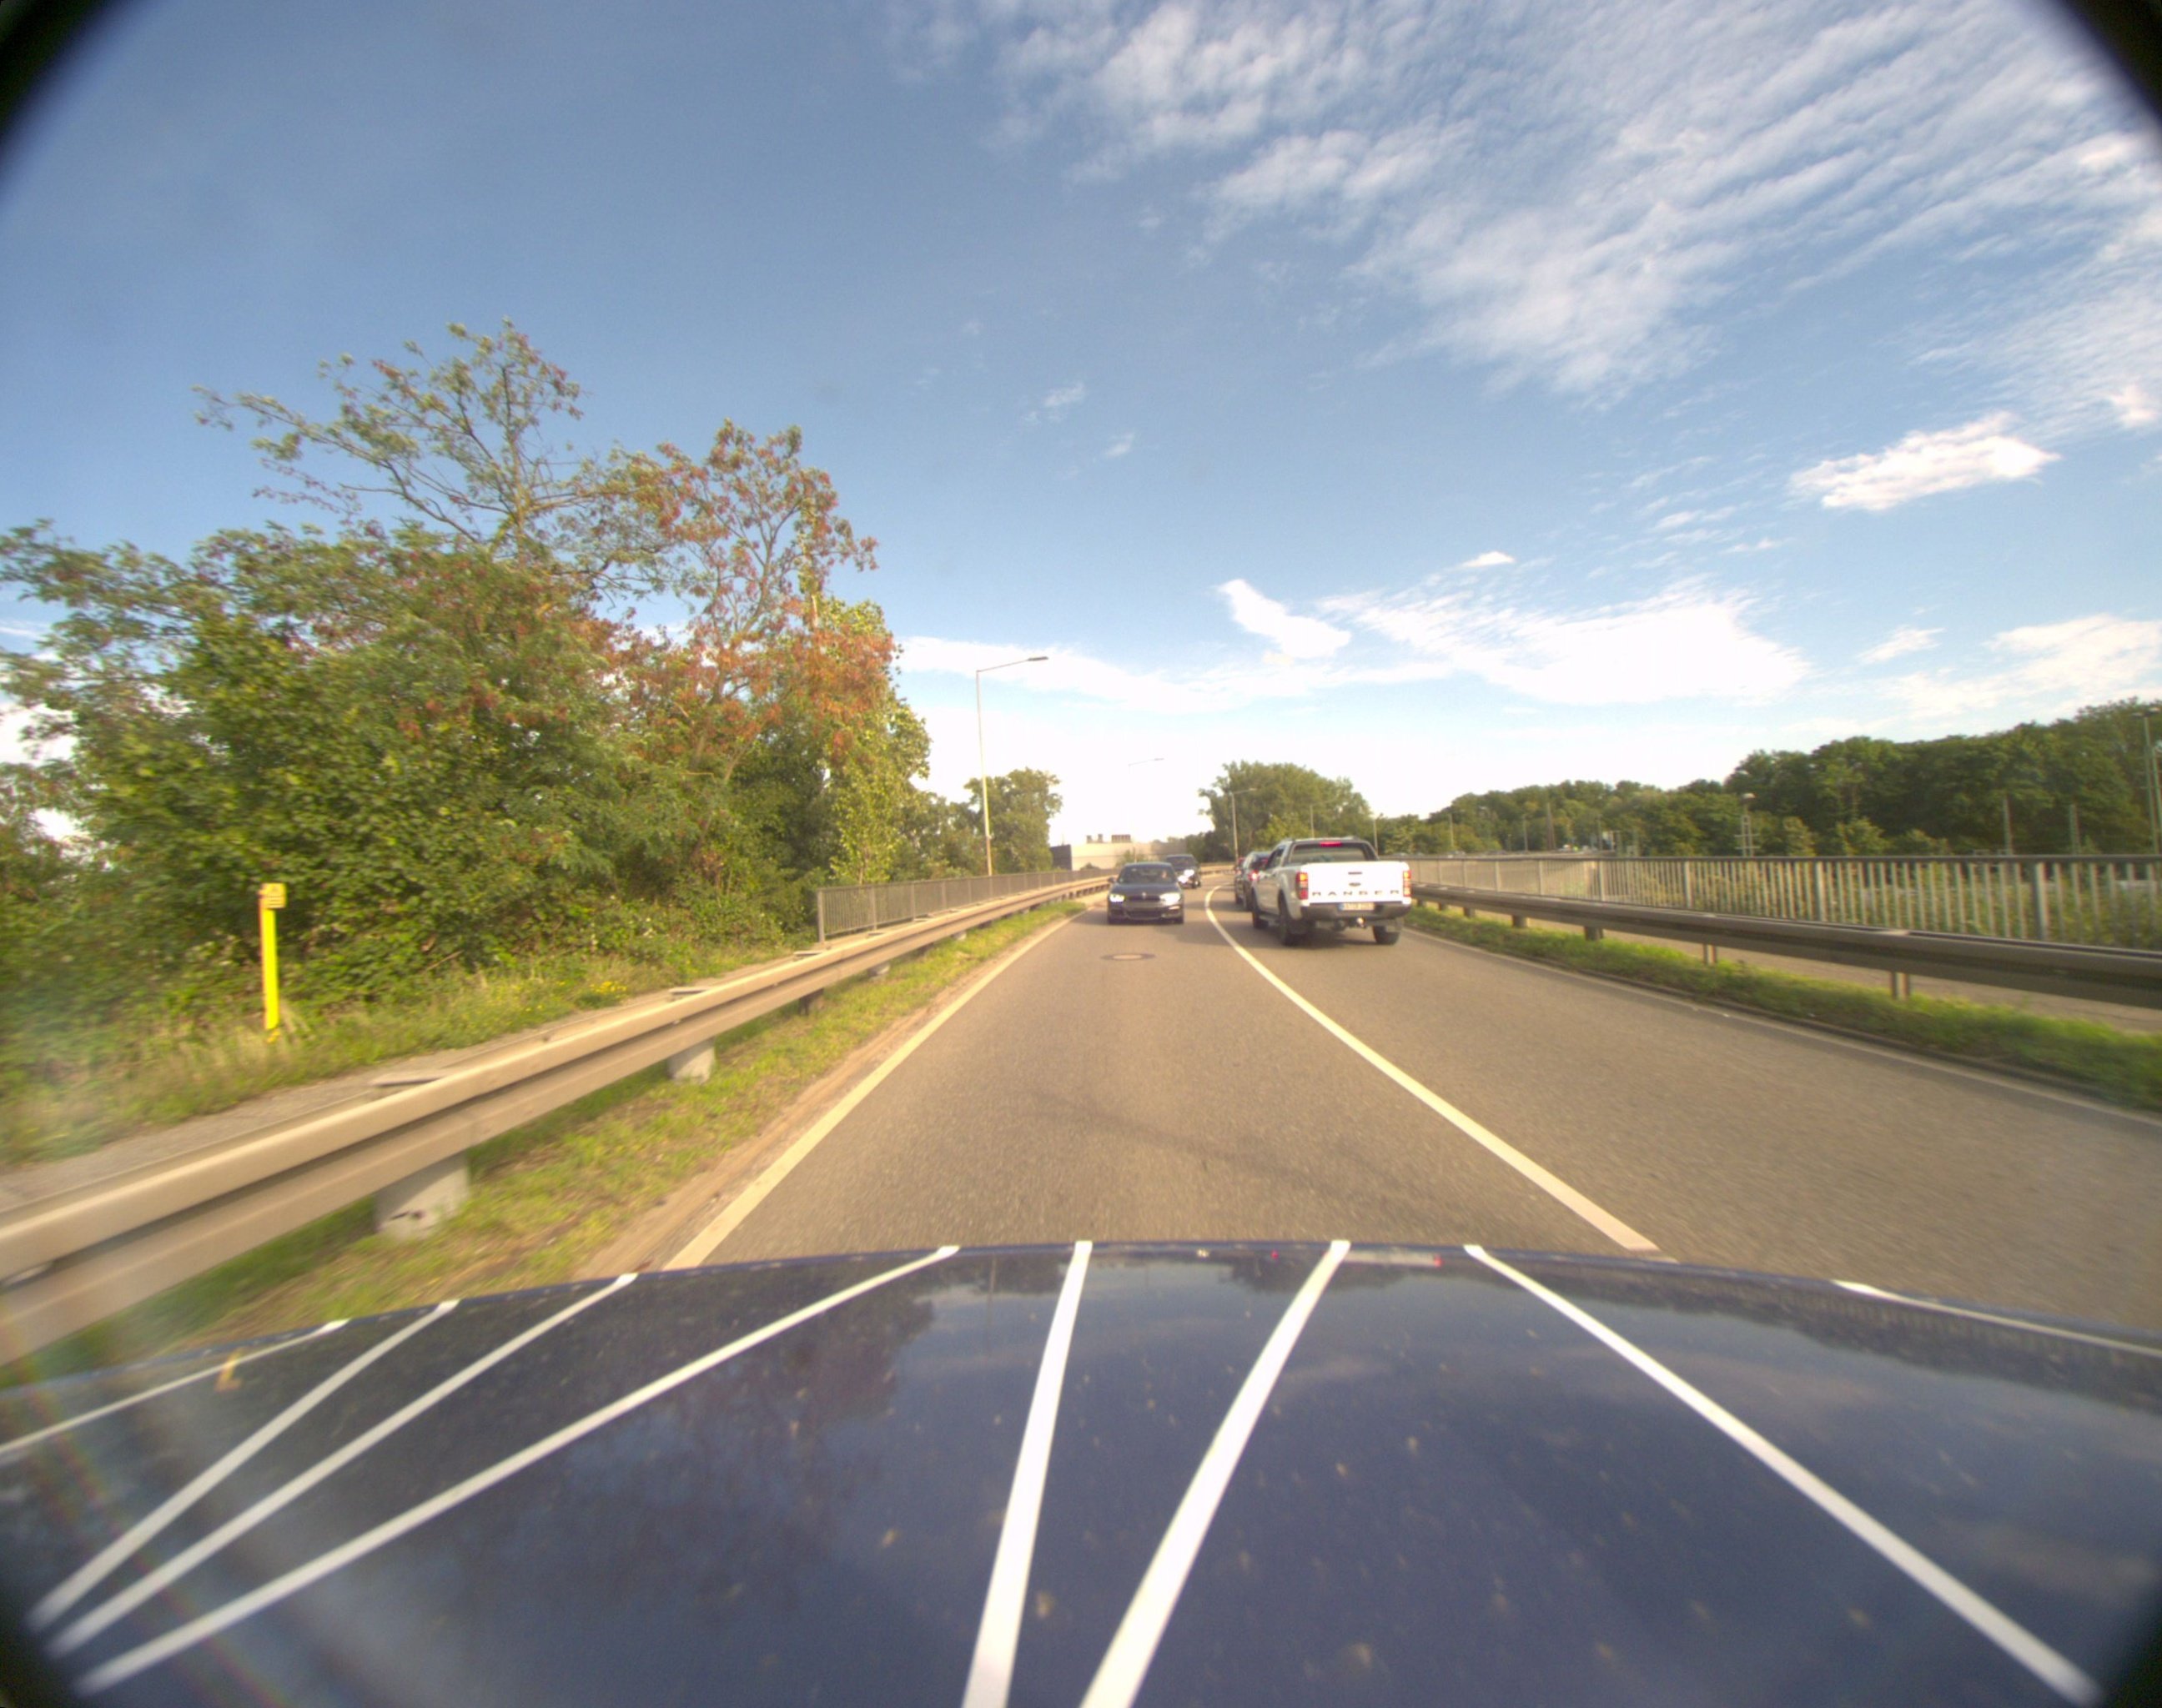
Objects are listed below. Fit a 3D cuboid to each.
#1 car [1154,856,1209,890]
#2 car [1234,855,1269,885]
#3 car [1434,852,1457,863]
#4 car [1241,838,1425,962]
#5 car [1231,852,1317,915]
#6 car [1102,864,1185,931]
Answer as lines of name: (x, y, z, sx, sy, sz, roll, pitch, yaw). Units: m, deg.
car: (4.958, 0.876, 37.069, 1.816, 1.498, 4.397, -1, 0, 19)
car: (8.918, 0.793, 39.566, 1.601, 1.456, 3.740, -1, 0, 14)
car: (53.534, 0.514, 111.573, 1.741, 1.492, 4.085, -1, 0, 45)
car: (4.312, 0.688, 14.009, 1.905, 1.800, 5.405, -2, 0, 4)
car: (5.518, 0.779, 22.267, 1.893, 1.639, 4.645, -1, 0, 7)
car: (1.582, 0.985, 18.712, 1.785, 1.396, 3.972, -1, 0, 6)
